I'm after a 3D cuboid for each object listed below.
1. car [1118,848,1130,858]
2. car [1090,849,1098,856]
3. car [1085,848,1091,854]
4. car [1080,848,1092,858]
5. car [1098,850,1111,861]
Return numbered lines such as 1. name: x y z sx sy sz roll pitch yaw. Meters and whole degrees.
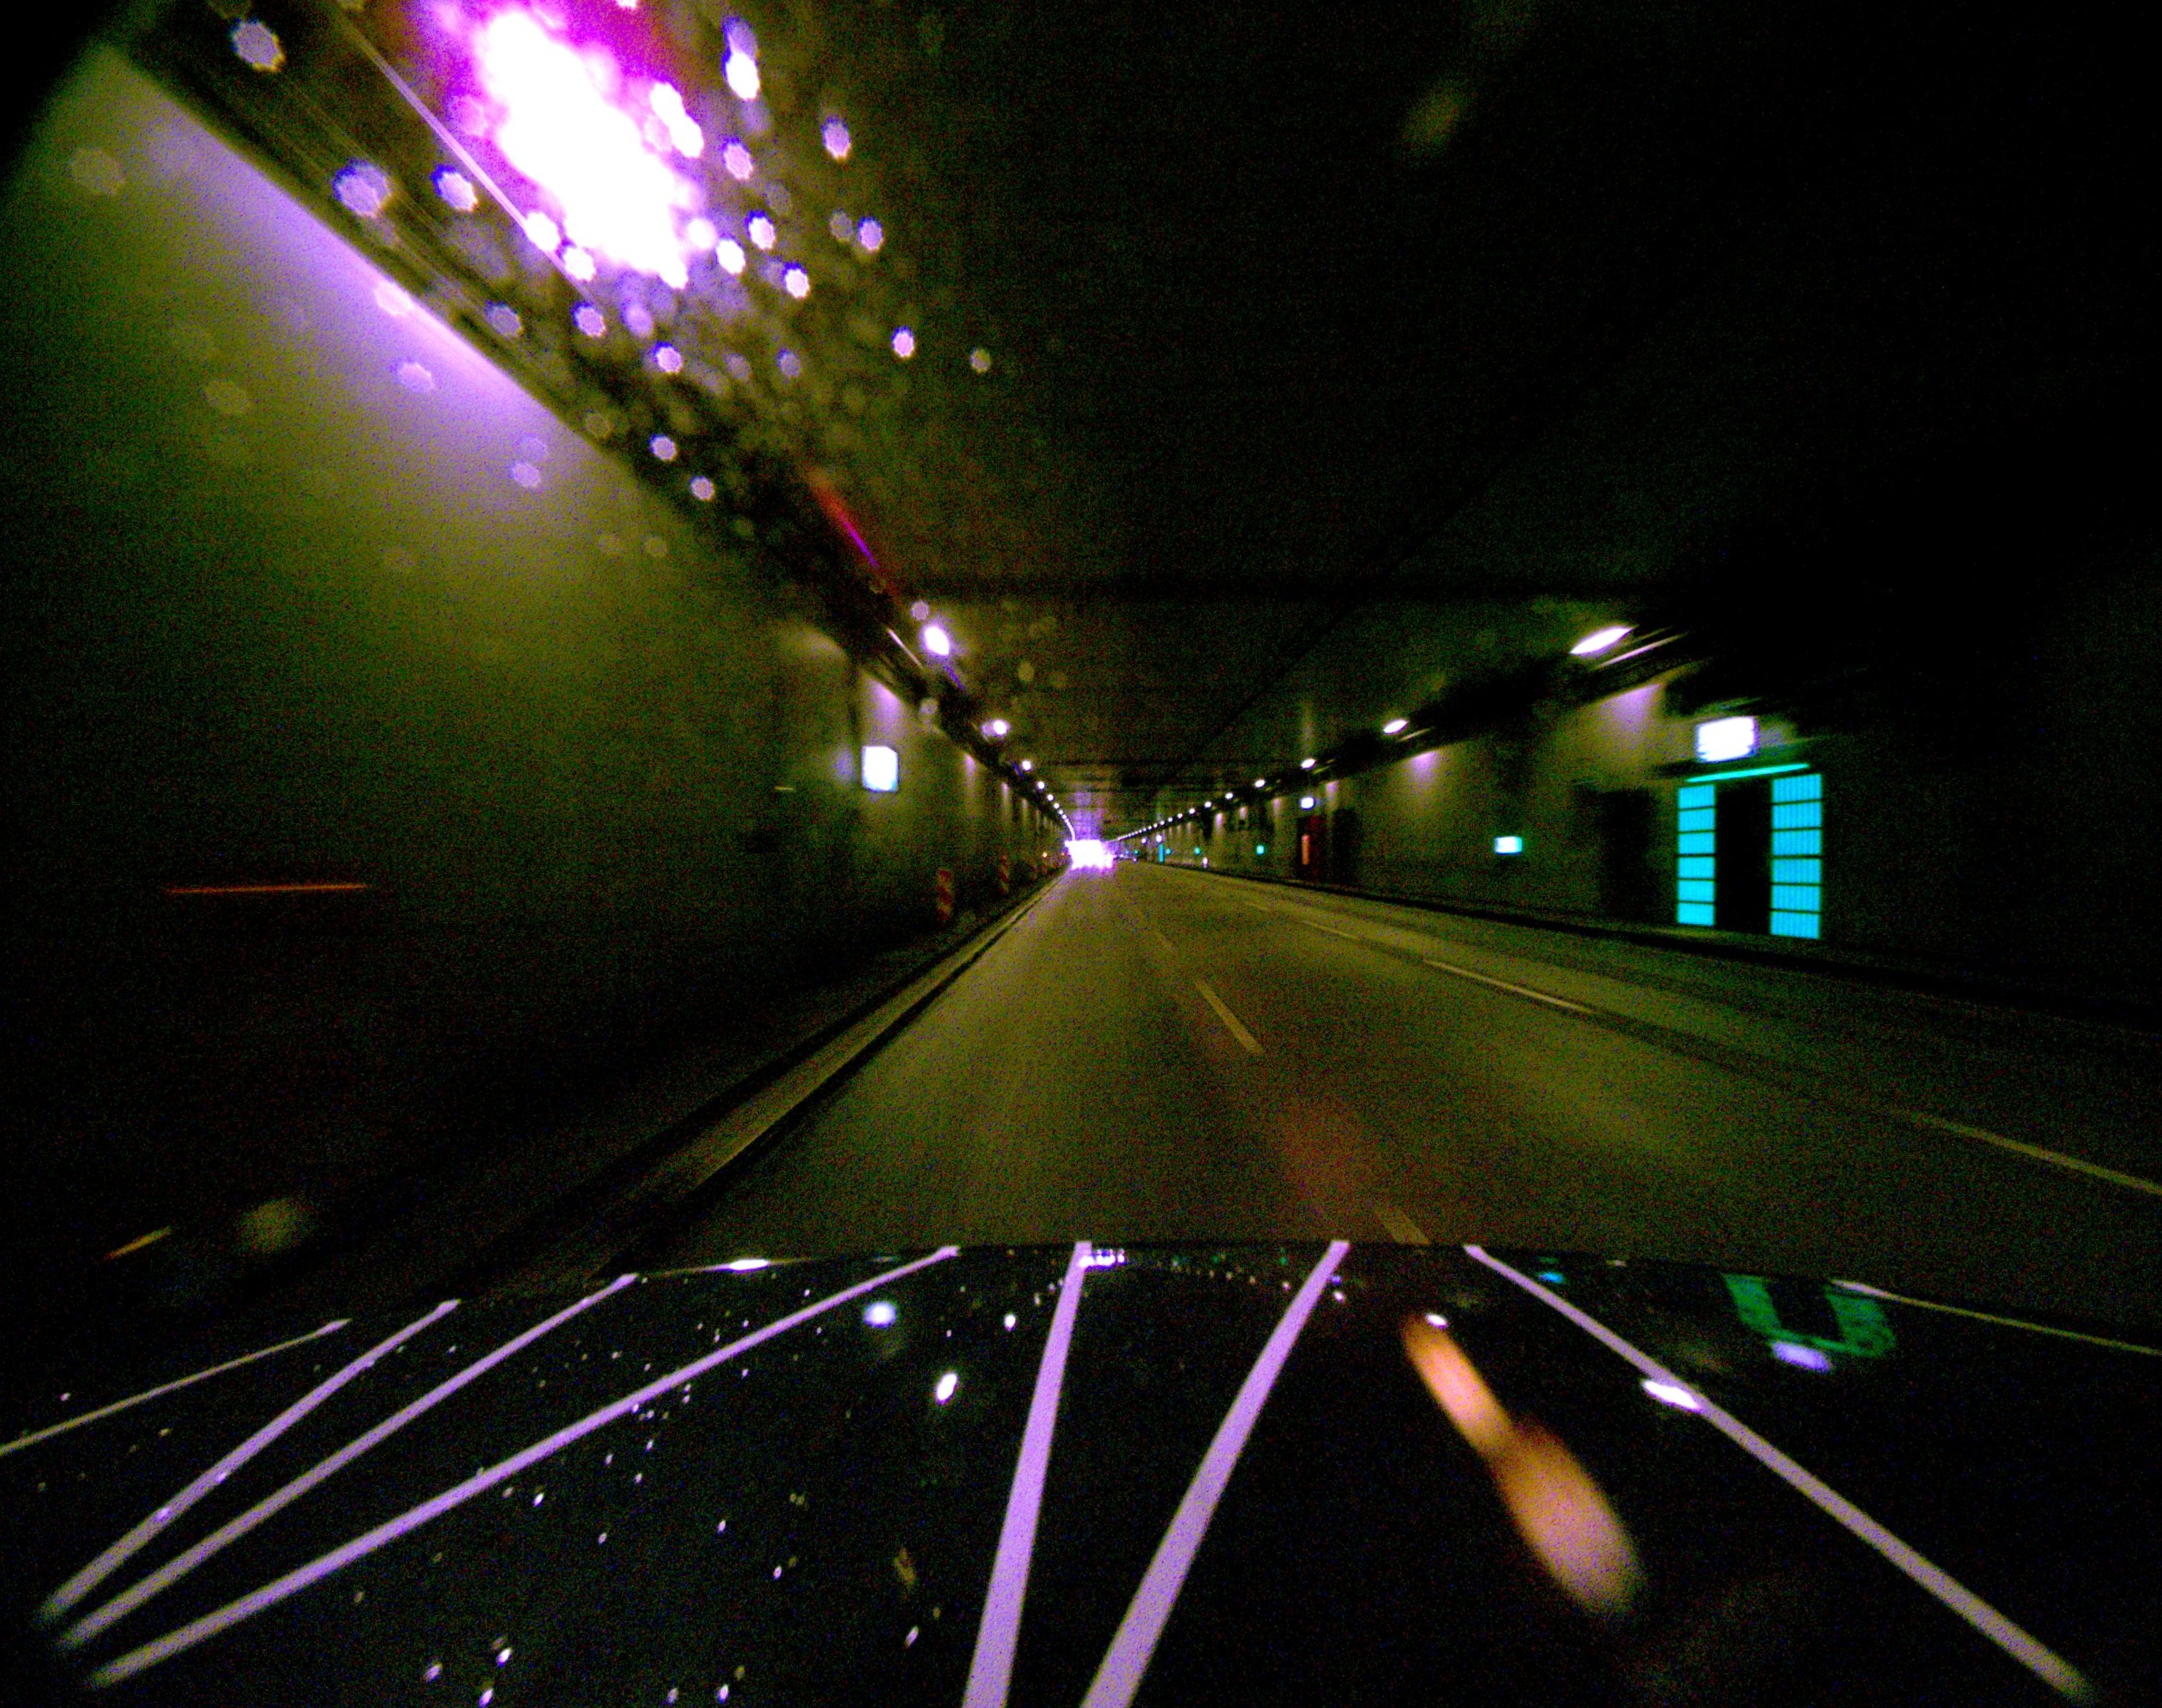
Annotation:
1. car: 7.885 -0.115 140.810 1.998 1.685 4.000 -2 0 1
2. car: 3.706 -0.402 212.442 1.998 1.756 4.000 -3 1 1
3. car: 2.453 -1.109 257.306 1.998 1.756 4.000 -3 1 1
4. car: 0.899 -0.134 134.550 1.998 1.686 4.000 -3 1 1
5. car: 3.854 0.190 123.934 1.998 1.686 4.001 -1 0 3
